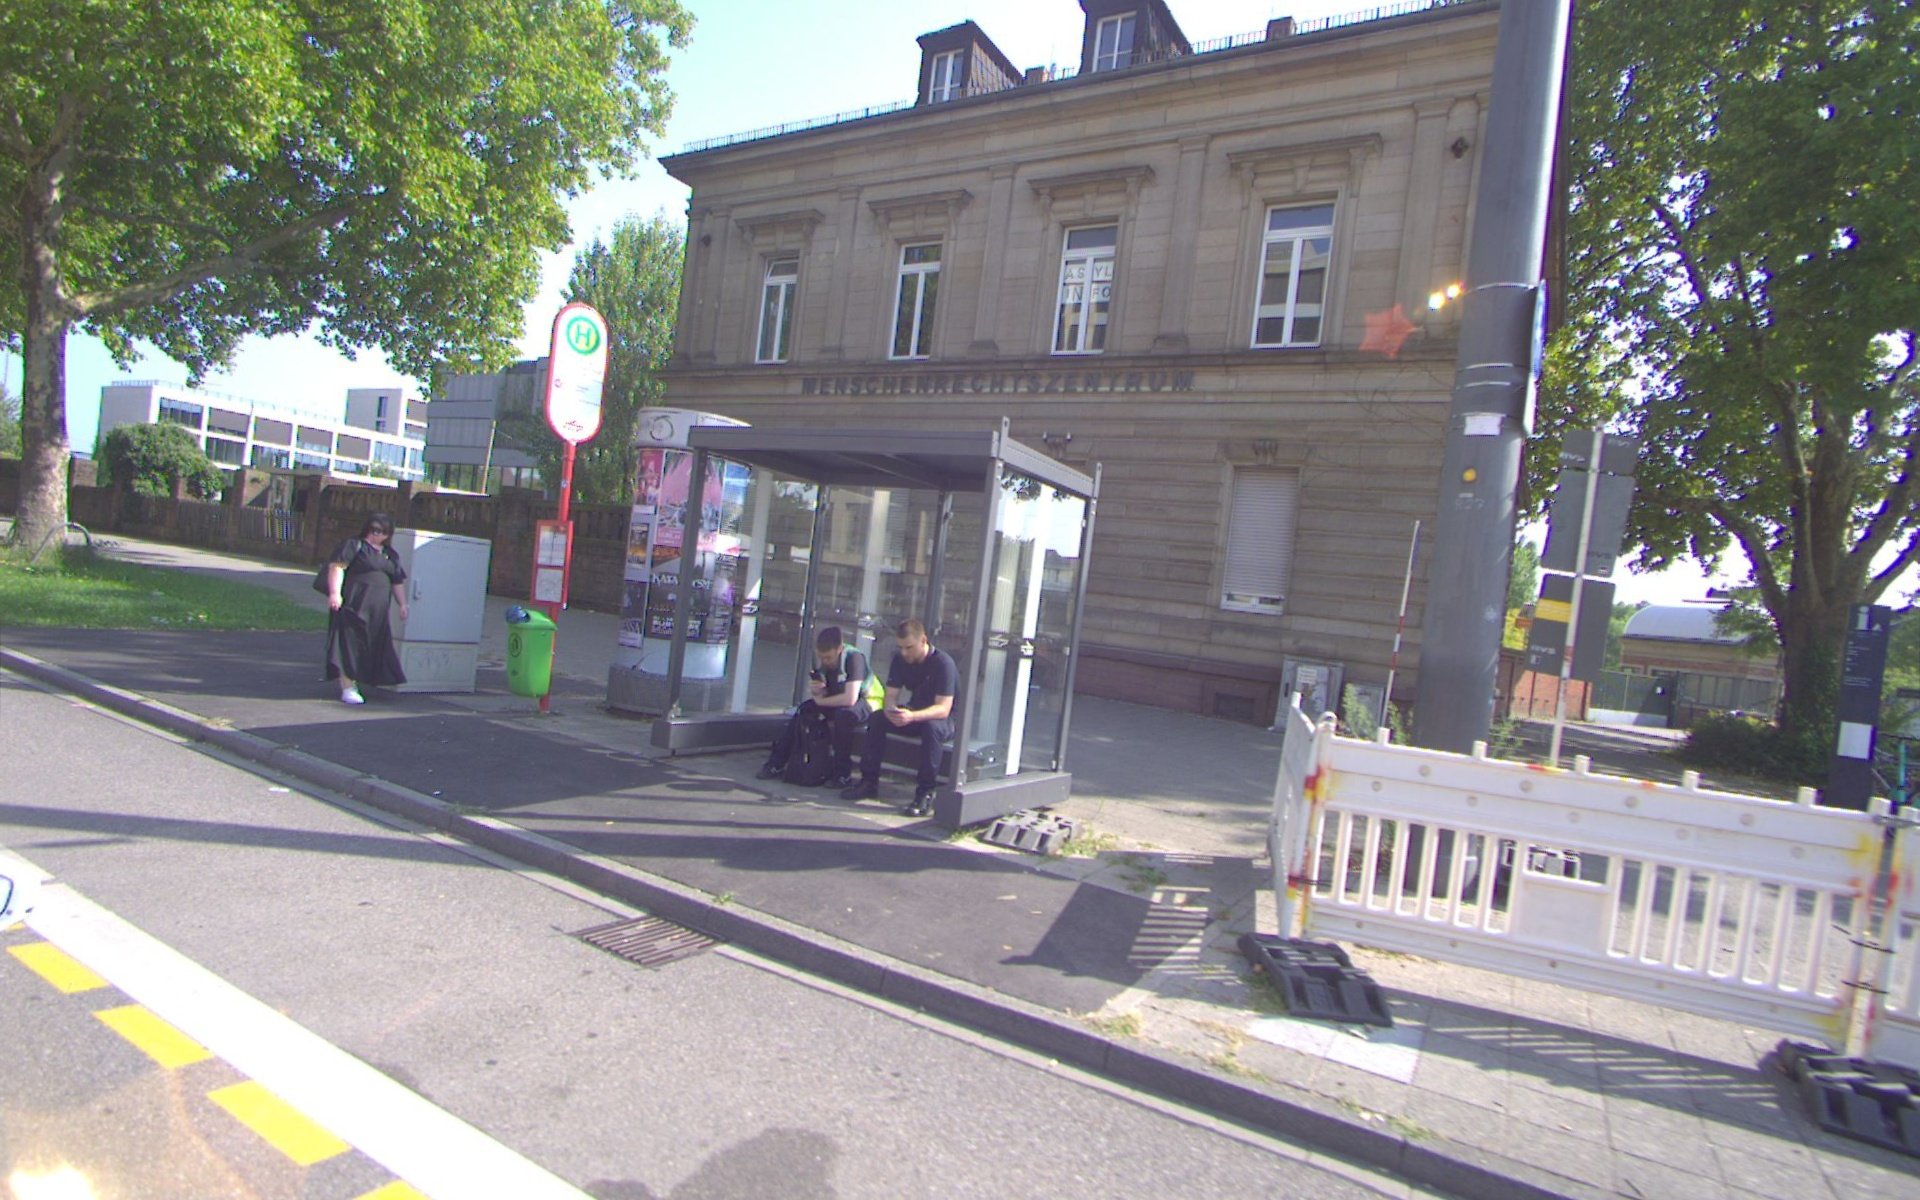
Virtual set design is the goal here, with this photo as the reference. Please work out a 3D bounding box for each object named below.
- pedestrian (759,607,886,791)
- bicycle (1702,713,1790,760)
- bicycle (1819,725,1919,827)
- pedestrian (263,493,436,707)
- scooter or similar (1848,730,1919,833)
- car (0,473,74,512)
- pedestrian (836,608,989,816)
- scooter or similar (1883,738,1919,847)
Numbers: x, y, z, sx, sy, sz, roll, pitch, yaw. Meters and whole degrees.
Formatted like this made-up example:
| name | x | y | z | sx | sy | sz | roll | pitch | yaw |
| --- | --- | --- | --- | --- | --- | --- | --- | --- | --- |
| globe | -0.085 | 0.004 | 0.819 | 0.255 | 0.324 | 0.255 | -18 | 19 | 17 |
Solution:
| name | x | y | z | sx | sy | sz | roll | pitch | yaw |
| --- | --- | --- | --- | --- | --- | --- | --- | --- | --- |
| pedestrian | -1.005 | 0.700 | 7.405 | 0.564 | 1.234 | 0.608 | 7 | 3 | 29 |
| bicycle | 21.463 | 3.715 | 27.502 | 1.768 | 0.911 | 0.567 | 10 | 3 | 39 |
| bicycle | 12.871 | 2.439 | 13.728 | 1.604 | 1.181 | 0.498 | 7 | 1 | 36 |
| pedestrian | -5.100 | 0.010 | 8.416 | 0.810 | 1.646 | 0.881 | 8 | 1 | 38 |
| scooter or similar | 11.725 | 2.281 | 12.774 | 0.307 | 1.147 | 1.093 | 7 | 1 | 28 |
| car | -53.862 | -6.228 | 57.428 | 1.877 | 1.756 | 4.527 | 7 | 1 | 29 |
| pedestrian | -0.327 | 0.749 | 7.037 | 0.746 | 1.294 | 0.608 | 7 | 3 | 29 |
| scooter or similar | 11.301 | 2.250 | 11.305 | 1.207 | 1.181 | 0.408 | 7 | 2 | 36 |
